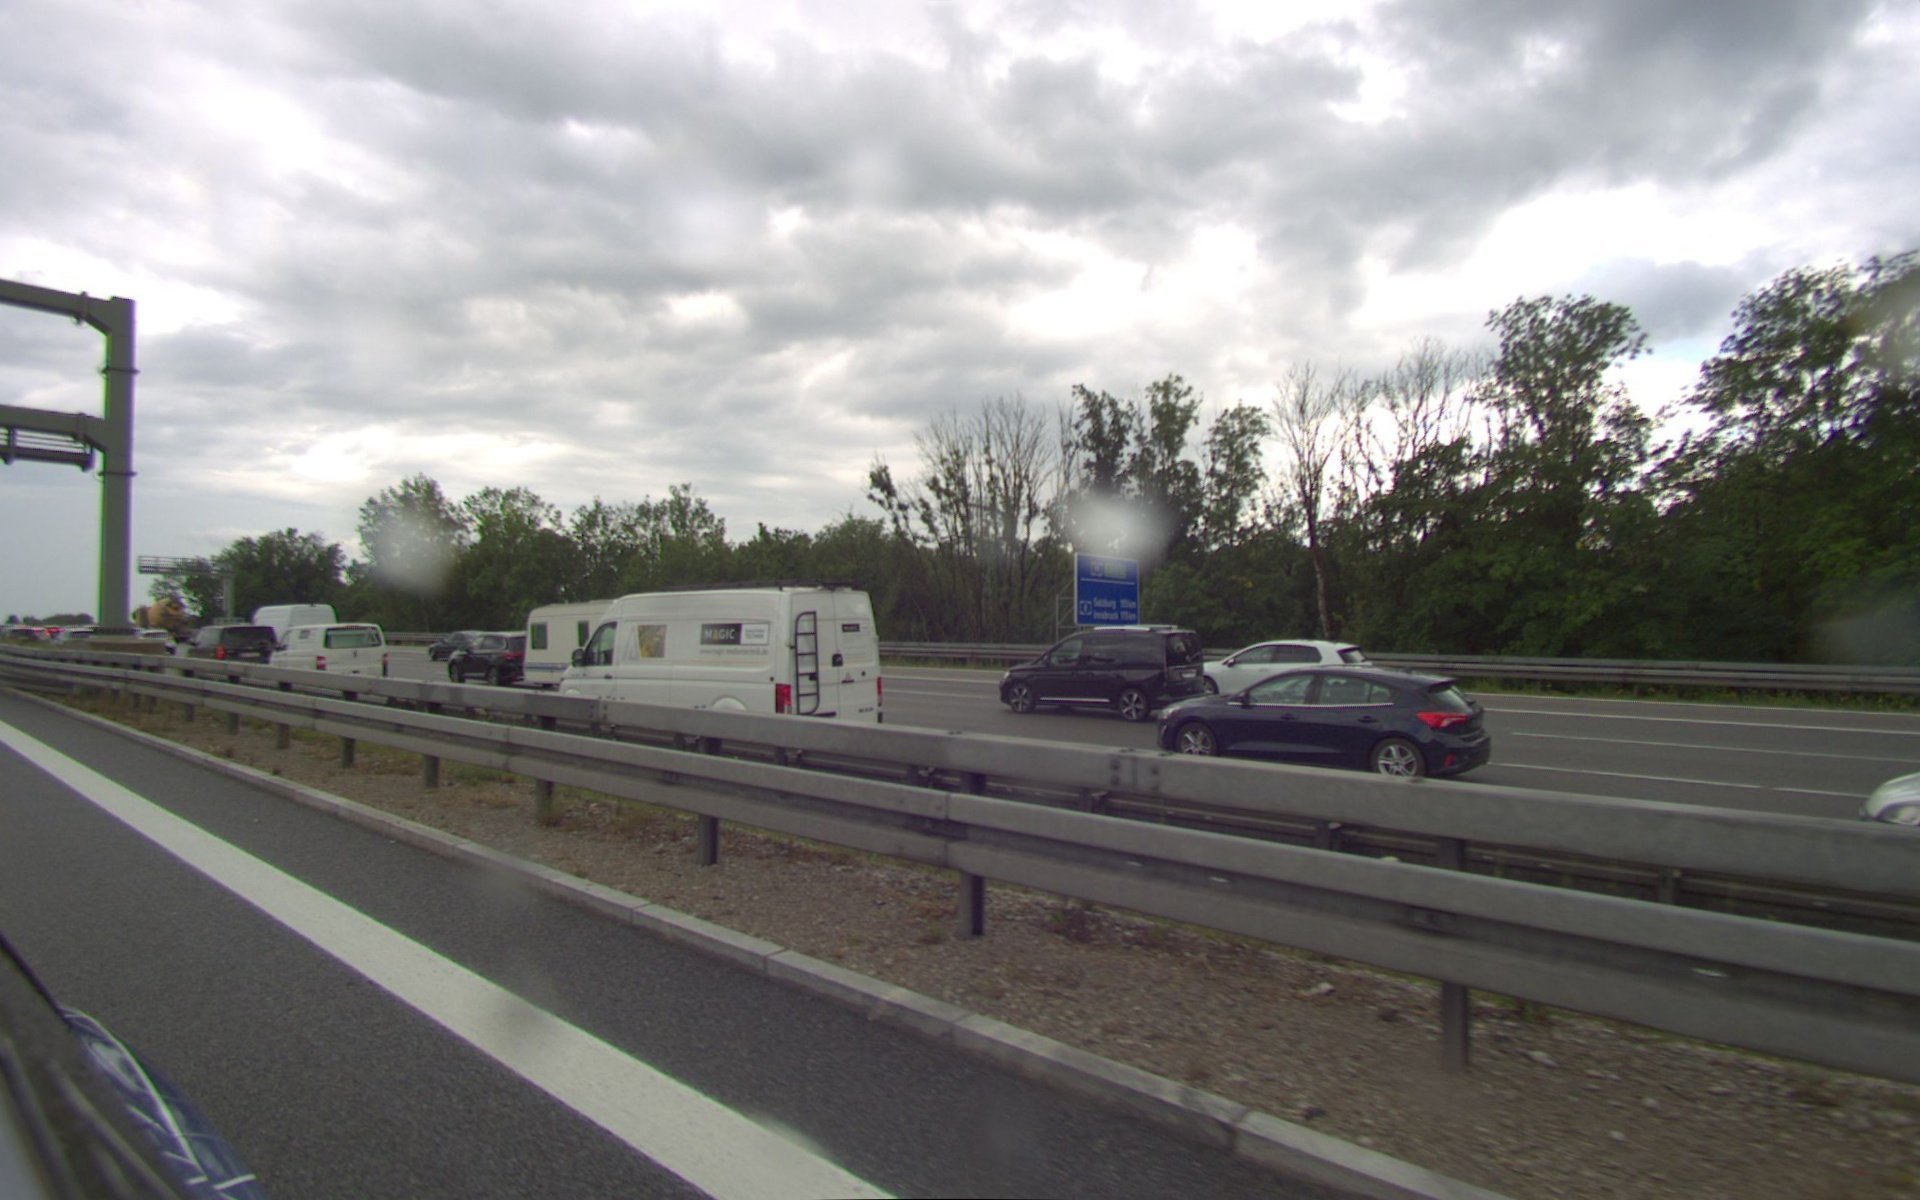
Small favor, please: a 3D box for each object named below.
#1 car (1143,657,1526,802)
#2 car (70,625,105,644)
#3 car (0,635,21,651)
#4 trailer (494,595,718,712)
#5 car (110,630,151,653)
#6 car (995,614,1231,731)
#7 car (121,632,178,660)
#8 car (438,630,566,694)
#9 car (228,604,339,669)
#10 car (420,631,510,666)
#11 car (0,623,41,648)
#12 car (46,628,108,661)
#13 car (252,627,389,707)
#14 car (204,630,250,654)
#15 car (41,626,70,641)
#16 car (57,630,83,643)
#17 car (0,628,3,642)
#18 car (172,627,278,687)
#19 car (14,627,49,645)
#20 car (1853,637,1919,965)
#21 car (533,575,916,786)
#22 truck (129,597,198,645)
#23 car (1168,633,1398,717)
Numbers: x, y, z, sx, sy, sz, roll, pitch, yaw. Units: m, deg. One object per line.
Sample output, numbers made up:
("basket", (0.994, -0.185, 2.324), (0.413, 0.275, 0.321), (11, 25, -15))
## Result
("car", (4.873, 1.584, 13.590), (4.476, 1.435, 1.799), (-1, 0, 42))
("car", (-78.555, 3.067, 91.105), (4.516, 1.615, 1.705), (-1, 0, 41))
("car", (-92.984, 4.140, 98.589), (4.516, 1.439, 1.705), (-1, 0, 41))
("trailer", (-9.411, 1.281, 26.429), (7.181, 2.673, 2.317), (-1, -2, 42))
("car", (-65.137, 3.234, 79.443), (4.910, 1.615, 1.705), (-1, 0, 41))
("car", (3.034, 1.364, 20.668), (4.475, 2.093, 1.800), (-1, 1, 41))
("car", (-48.535, 2.718, 60.579), (4.909, 1.505, 1.706), (-1, 0, 40))
("car", (-13.791, 1.791, 30.361), (4.476, 1.690, 1.799), (-1, 0, 42))
("car", (-29.967, 1.570, 44.698), (7.730, 2.673, 2.027), (-1, -2, 41))
("car", (-22.957, 2.201, 46.905), (4.910, 1.506, 1.962), (-1, -2, 41))
("car", (-63.651, 2.367, 68.400), (4.910, 1.615, 1.705), (-1, 0, 41))
("car", (-47.638, 2.350, 54.564), (4.909, 1.615, 1.706), (-1, 0, 40))
("car", (-18.457, 1.833, 29.103), (5.372, 2.093, 1.799), (-1, -2, 41))
("car", (-55.256, 3.126, 76.221), (4.910, 1.615, 1.705), (-1, 0, 41))
("car", (-94.618, 3.450, 105.841), (4.516, 1.439, 1.705), (-1, 0, 41))
("car", (-103.335, 4.221, 117.480), (4.516, 1.439, 1.705), (-1, 0, 41))
("car", (-104.033, 3.728, 108.482), (4.516, 1.439, 1.705), (-1, 0, 41))
("car", (-25.798, 1.928, 35.452), (5.421, 1.919, 1.799), (-1, -2, 41))
("car", (-81.670, 3.165, 88.975), (4.846, 1.481, 1.705), (-1, 0, 41))
("car", (8.196, 1.213, 5.286), (5.219, 1.967, 1.799), (-1, -2, 41))
("car", (-4.051, 1.097, 16.112), (7.306, 2.698, 2.003), (-1, -2, 41))
("truck", (-70.282, 1.842, 89.219), (9.576, 4.045, 2.885), (-1, -1, 40))
("car", (6.984, 1.552, 22.153), (4.475, 1.620, 1.799), (-1, -2, 41))
